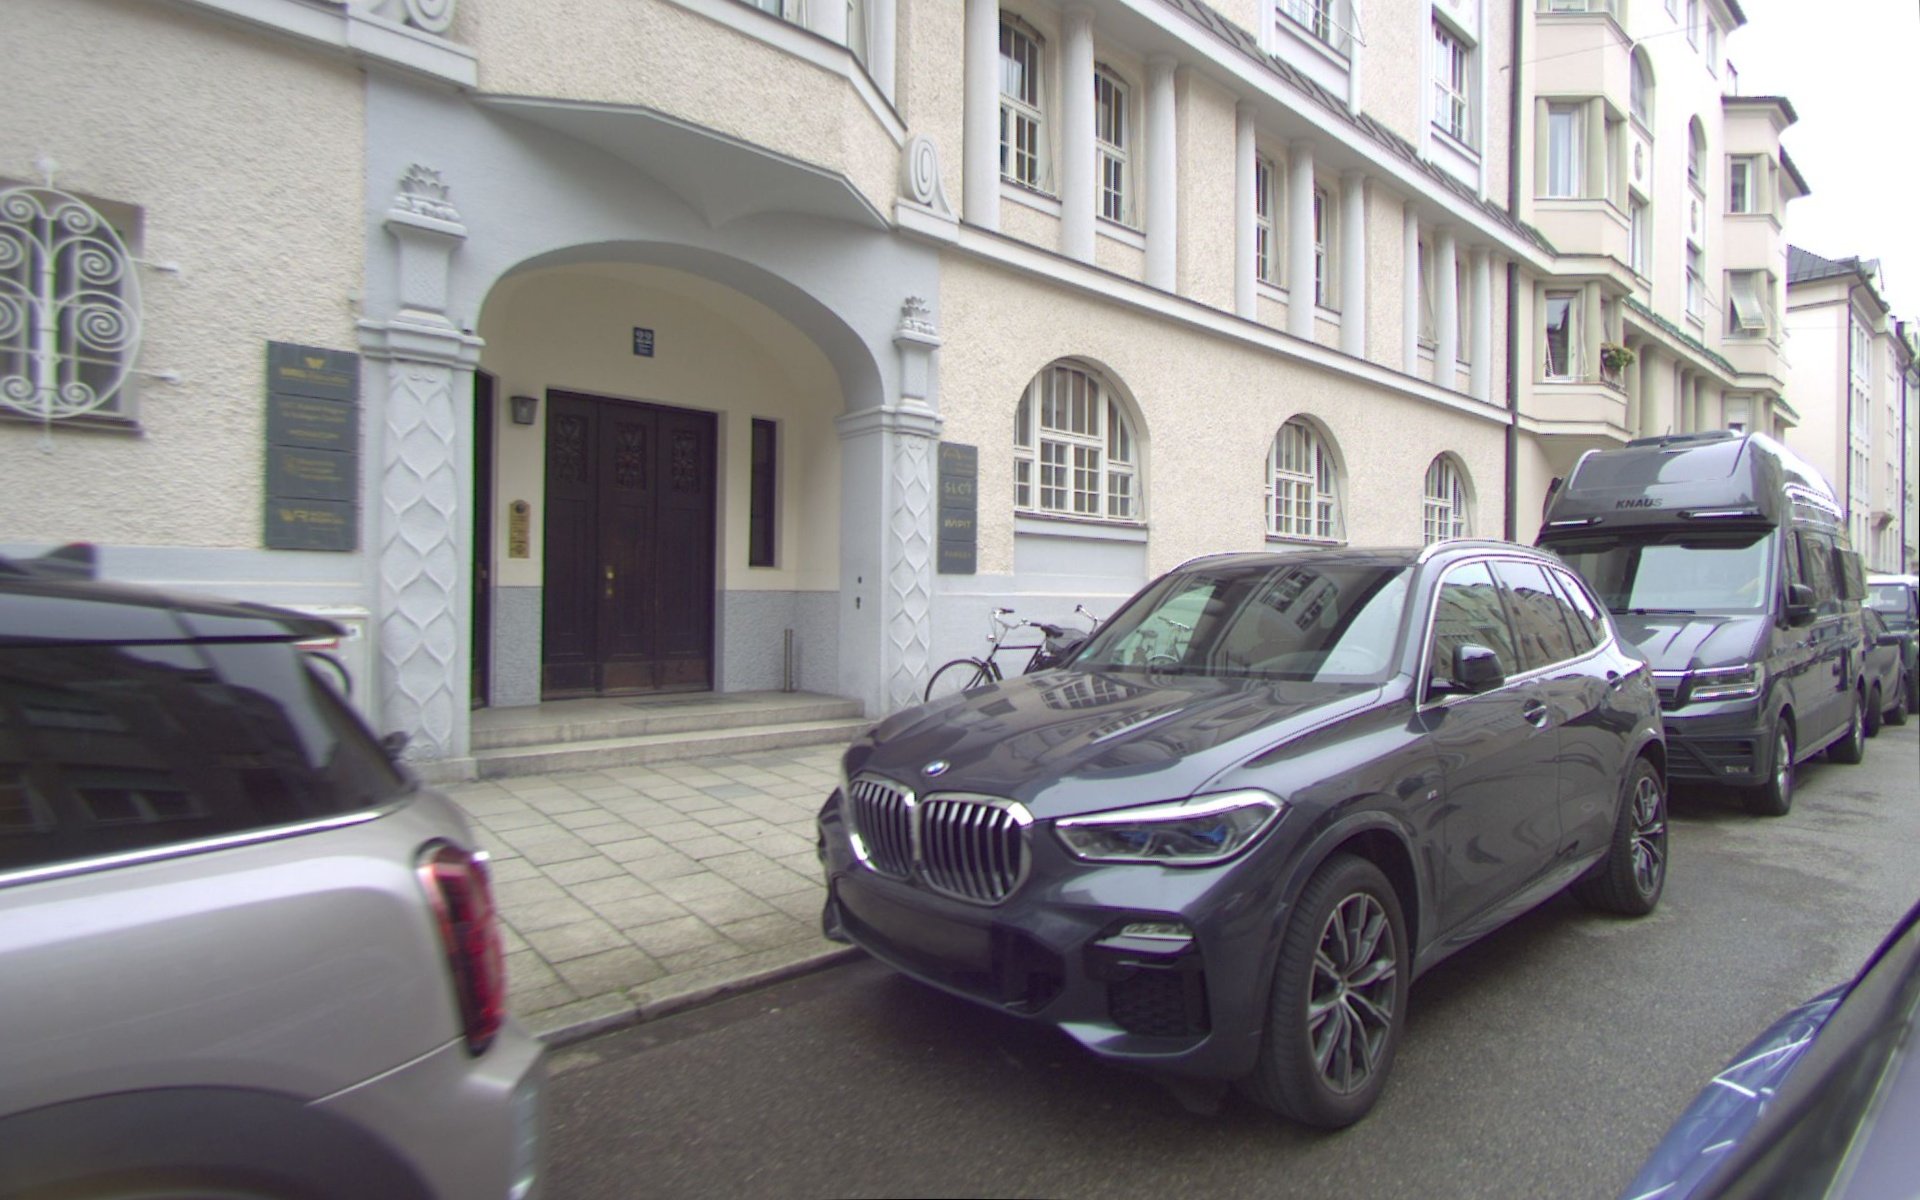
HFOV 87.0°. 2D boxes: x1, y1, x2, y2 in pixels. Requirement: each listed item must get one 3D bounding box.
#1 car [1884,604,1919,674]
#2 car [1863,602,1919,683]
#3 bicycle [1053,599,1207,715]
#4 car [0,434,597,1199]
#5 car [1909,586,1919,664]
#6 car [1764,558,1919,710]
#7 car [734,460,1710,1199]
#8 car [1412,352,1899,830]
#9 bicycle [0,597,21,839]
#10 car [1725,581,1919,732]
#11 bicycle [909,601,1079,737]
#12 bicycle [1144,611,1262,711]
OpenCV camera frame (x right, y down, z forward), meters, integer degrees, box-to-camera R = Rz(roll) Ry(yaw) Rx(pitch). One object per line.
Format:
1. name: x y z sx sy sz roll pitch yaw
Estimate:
1. car: 21.746 0.828 22.474 3.613 1.491 1.494 1 -1 -43
2. car: 18.832 0.787 19.723 3.444 1.491 1.494 1 -1 -43
3. bicycle: 1.845 0.577 10.872 1.753 1.165 0.483 0 0 -33
4. car: -2.557 0.609 0.889 3.902 1.612 1.635 0 0 -44
5. car: 26.199 0.632 26.322 4.584 1.961 1.878 1 -1 -43
6. car: 14.024 0.462 15.653 4.000 2.065 1.798 0 0 -41
7. car: 1.536 0.567 4.501 4.593 1.710 1.996 0 -1 -42
8. car: 6.606 -0.090 9.215 6.027 2.997 2.257 -1 0 -42
9. bicycle: -5.381 0.568 4.498 1.758 1.165 0.482 0 0 -44
10. car: 10.757 0.613 12.506 2.766 1.646 1.544 0 0 -41
11. bicycle: 0.360 0.603 9.638 1.758 1.164 0.482 0 3 -44
12. bicycle: 2.900 0.689 11.966 1.757 1.082 0.389 0 2 -41
